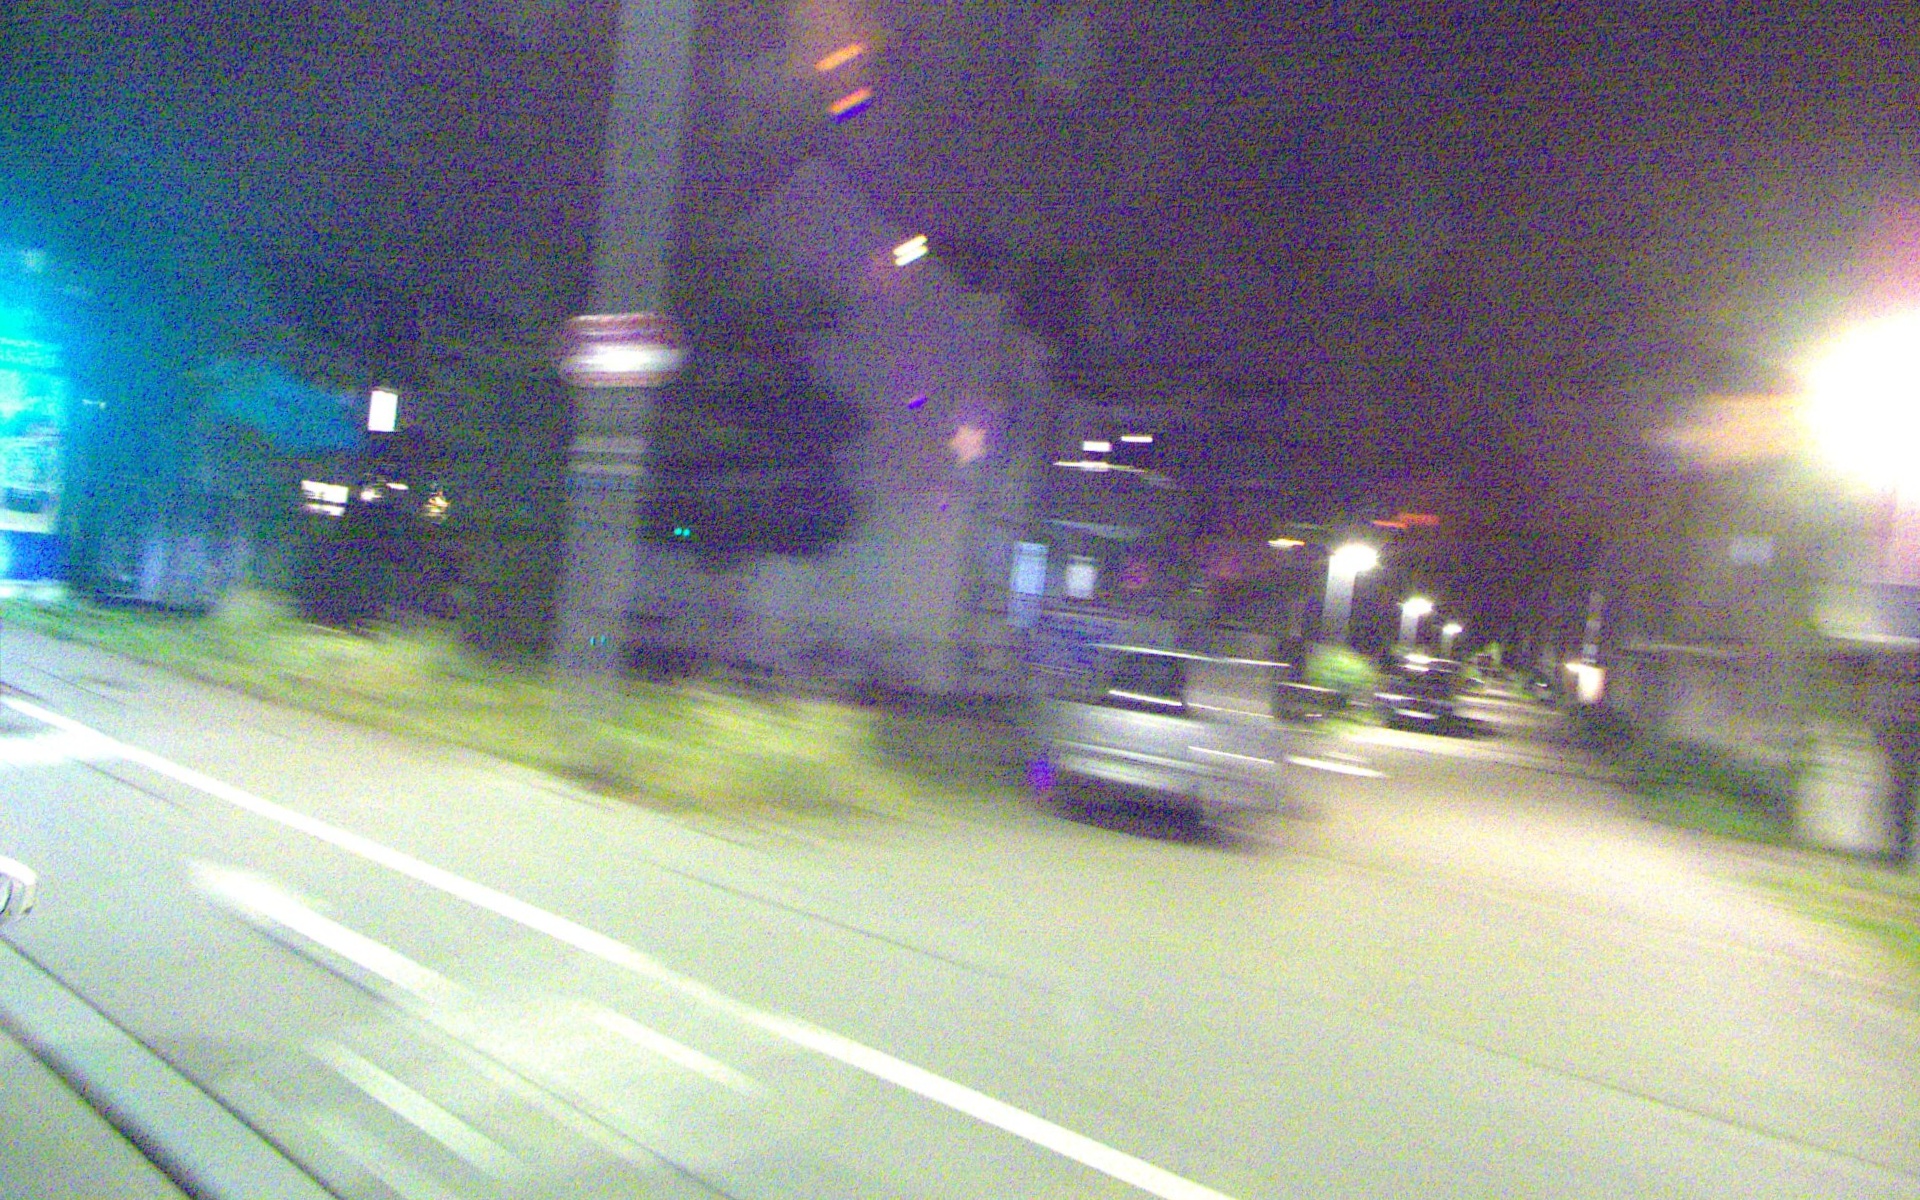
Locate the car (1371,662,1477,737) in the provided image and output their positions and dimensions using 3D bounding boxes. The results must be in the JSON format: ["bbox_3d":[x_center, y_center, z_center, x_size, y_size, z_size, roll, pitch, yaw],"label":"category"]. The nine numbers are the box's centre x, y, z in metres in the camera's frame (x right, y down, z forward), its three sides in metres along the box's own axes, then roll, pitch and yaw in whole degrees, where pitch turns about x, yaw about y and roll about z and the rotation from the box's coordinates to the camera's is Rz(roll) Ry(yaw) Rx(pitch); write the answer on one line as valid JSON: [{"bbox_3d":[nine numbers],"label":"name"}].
[{"bbox_3d":[12.385,2.586,26.693,1.967,1.593,3.991,7,0,32],"label":"car"}]

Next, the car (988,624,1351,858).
[{"bbox_3d":[2.036,1.116,8.799,1.828,1.370,3.770,7,-1,31],"label":"car"}]

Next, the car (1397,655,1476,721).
[{"bbox_3d":[16.461,3.010,34.655,1.966,1.905,3.993,7,-1,30],"label":"car"}]
